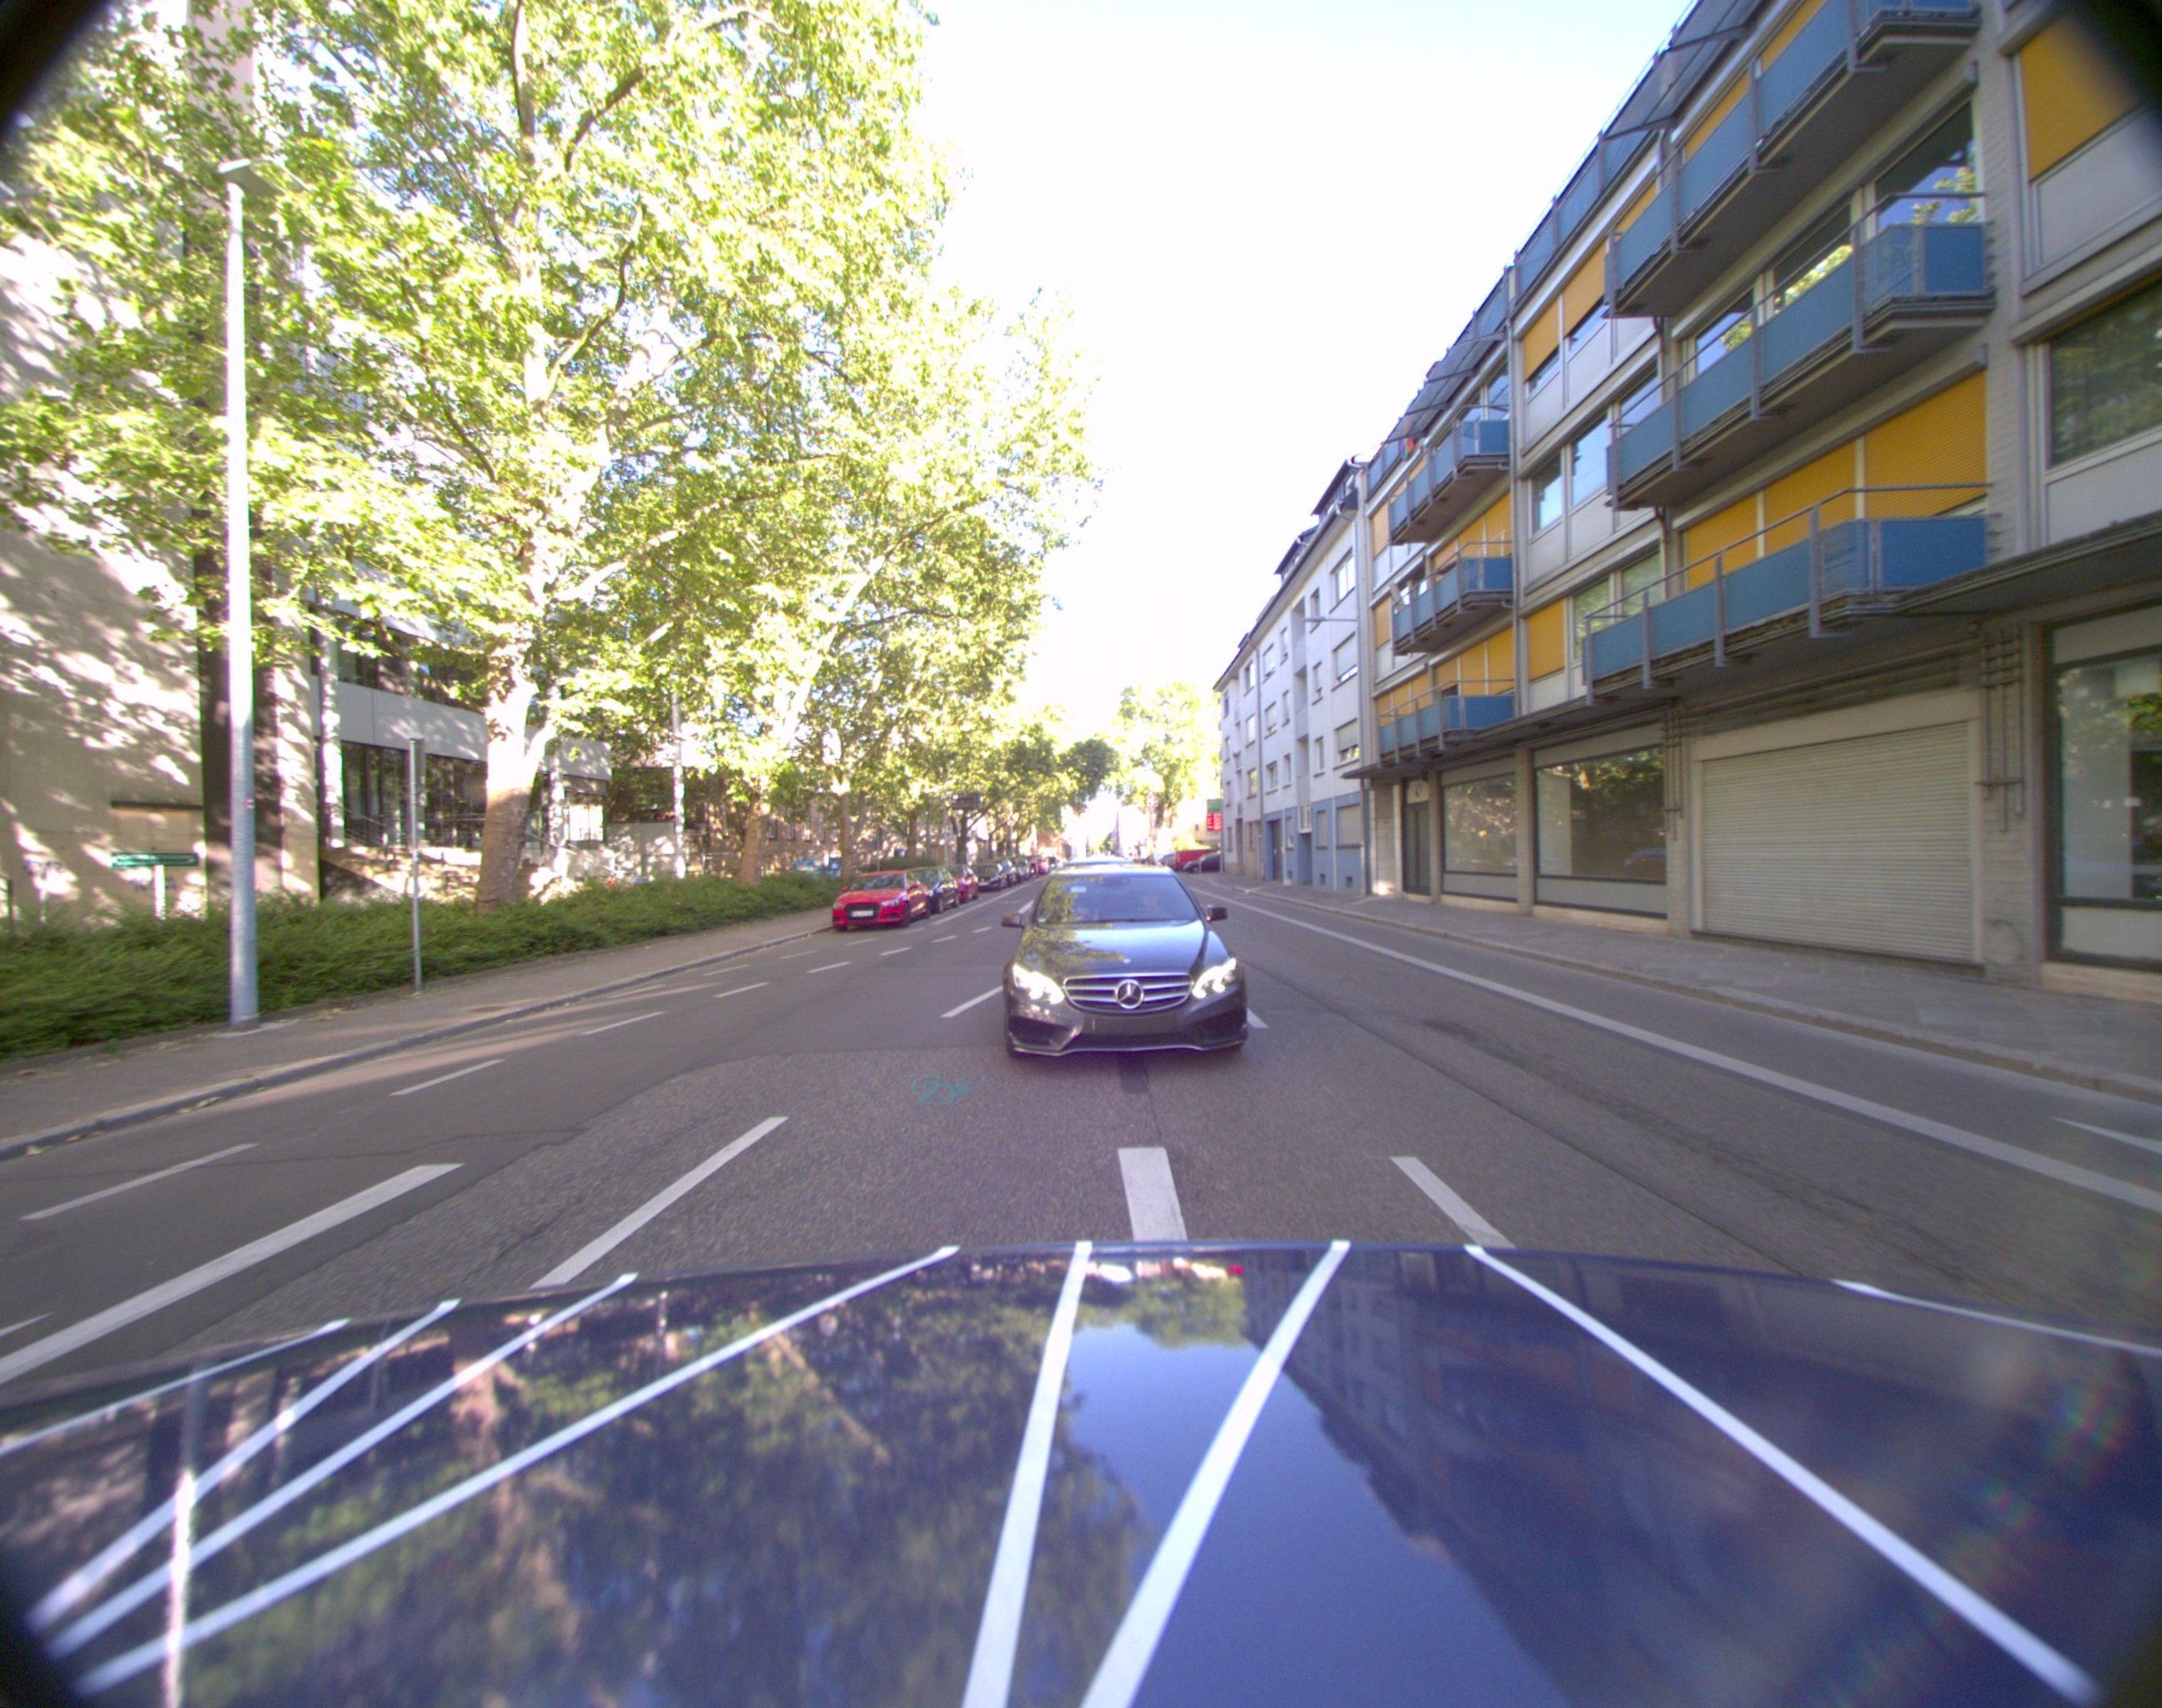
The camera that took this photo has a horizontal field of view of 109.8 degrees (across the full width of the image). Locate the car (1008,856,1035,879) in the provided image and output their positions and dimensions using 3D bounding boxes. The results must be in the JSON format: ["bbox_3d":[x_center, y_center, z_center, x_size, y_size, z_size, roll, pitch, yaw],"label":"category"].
[{"bbox_3d":[-4.406,0.986,56.706,1.686,1.552,3.868,-2,0,0],"label":"car"}]

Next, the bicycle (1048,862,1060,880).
[{"bbox_3d":[-1.760,1.106,49.545,0.667,1.093,1.814,-2,1,0],"label":"bicycle"}]

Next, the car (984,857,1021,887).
[{"bbox_3d":[-4.515,0.991,44.256,1.686,1.610,3.836,-2,0,0],"label":"car"}]

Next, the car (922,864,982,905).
[{"bbox_3d":[-4.985,1.146,29.796,1.666,1.426,3.781,-2,0,0],"label":"car"}]

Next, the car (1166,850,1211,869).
[{"bbox_3d":[9.734,0.480,68.972,3.905,1.577,1.603,-2,1,2],"label":"car"}]

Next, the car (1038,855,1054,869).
[{"bbox_3d":[-4.037,0.926,89.257,1.639,1.493,3.752,-2,0,0],"label":"car"}]

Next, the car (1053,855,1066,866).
[{"bbox_3d":[-3.117,0.874,109.023,1.686,1.475,3.836,-2,0,0],"label":"car"}]

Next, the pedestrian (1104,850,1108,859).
[{"bbox_3d":[6.429,0.174,192.703,0.884,2.108,0.821,-2,1,1],"label":"pedestrian"}]

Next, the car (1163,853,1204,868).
[{"bbox_3d":[10.390,0.620,77.163,3.905,1.366,1.594,-2,1,2],"label":"car"}]

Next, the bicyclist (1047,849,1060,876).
[{"bbox_3d":[-1.789,0.560,49.452,0.756,1.714,0.768,-2,1,-1],"label":"bicyclist"}]

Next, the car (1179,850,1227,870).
[{"bbox_3d":[10.148,0.495,63.332,3.668,1.501,1.602,-2,1,2],"label":"car"}]

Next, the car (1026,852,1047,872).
[{"bbox_3d":[-4.234,0.734,72.421,1.646,1.839,3.836,-2,0,0],"label":"car"}]

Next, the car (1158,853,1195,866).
[{"bbox_3d":[10.545,0.584,84.328,3.905,1.325,1.525,-2,1,2],"label":"car"}]

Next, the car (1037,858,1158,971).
[{"bbox_3d":[0.235,0.908,13.374,1.732,1.538,4.294,-2,1,0],"label":"car"}]

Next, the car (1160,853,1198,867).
[{"bbox_3d":[10.536,0.606,81.939,3.905,1.325,1.525,-2,1,2],"label":"car"}]

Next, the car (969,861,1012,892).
[{"bbox_3d":[-4.643,1.121,39.597,1.686,1.442,4.000,-2,0,0],"label":"car"}]

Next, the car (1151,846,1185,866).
[{"bbox_3d":[10.416,0.223,91.507,3.905,2.164,1.725,-2,1,2],"label":"car"}]

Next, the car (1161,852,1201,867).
[{"bbox_3d":[10.421,0.600,79.185,3.905,1.366,1.594,-2,1,2],"label":"car"}]

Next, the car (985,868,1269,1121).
[{"bbox_3d":[0.298,0.969,7.169,1.828,1.495,4.294,-2,1,0],"label":"car"}]

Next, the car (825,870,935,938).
[{"bbox_3d":[-5.105,1.220,19.852,1.724,1.412,4.031,-4,0,-1],"label":"car"}]

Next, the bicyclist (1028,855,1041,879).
[{"bbox_3d":[-2.991,0.842,48.927,0.756,1.512,0.768,-2,1,-1],"label":"bicyclist"}]

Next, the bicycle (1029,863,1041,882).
[{"bbox_3d":[-2.968,1.178,48.923,0.667,1.093,1.814,-2,1,0],"label":"bicycle"}]

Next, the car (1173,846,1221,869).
[{"bbox_3d":[10.093,0.309,66.177,3.905,1.895,1.749,-2,0,2],"label":"car"}]

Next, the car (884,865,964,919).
[{"bbox_3d":[-4.987,1.170,24.611,1.686,1.458,4.000,-3,0,0],"label":"car"}]

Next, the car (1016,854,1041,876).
[{"bbox_3d":[-4.198,0.874,61.563,1.663,1.704,3.836,-2,0,0],"label":"car"}]

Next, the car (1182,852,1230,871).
[{"bbox_3d":[9.979,0.590,60.927,3.598,1.401,1.534,-2,0,2],"label":"car"}]

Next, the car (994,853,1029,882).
[{"bbox_3d":[-4.573,0.869,50.382,1.819,1.758,4.431,-2,0,0],"label":"car"}]

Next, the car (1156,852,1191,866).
[{"bbox_3d":[10.556,0.522,87.013,3.782,1.432,1.539,-2,1,2],"label":"car"}]
